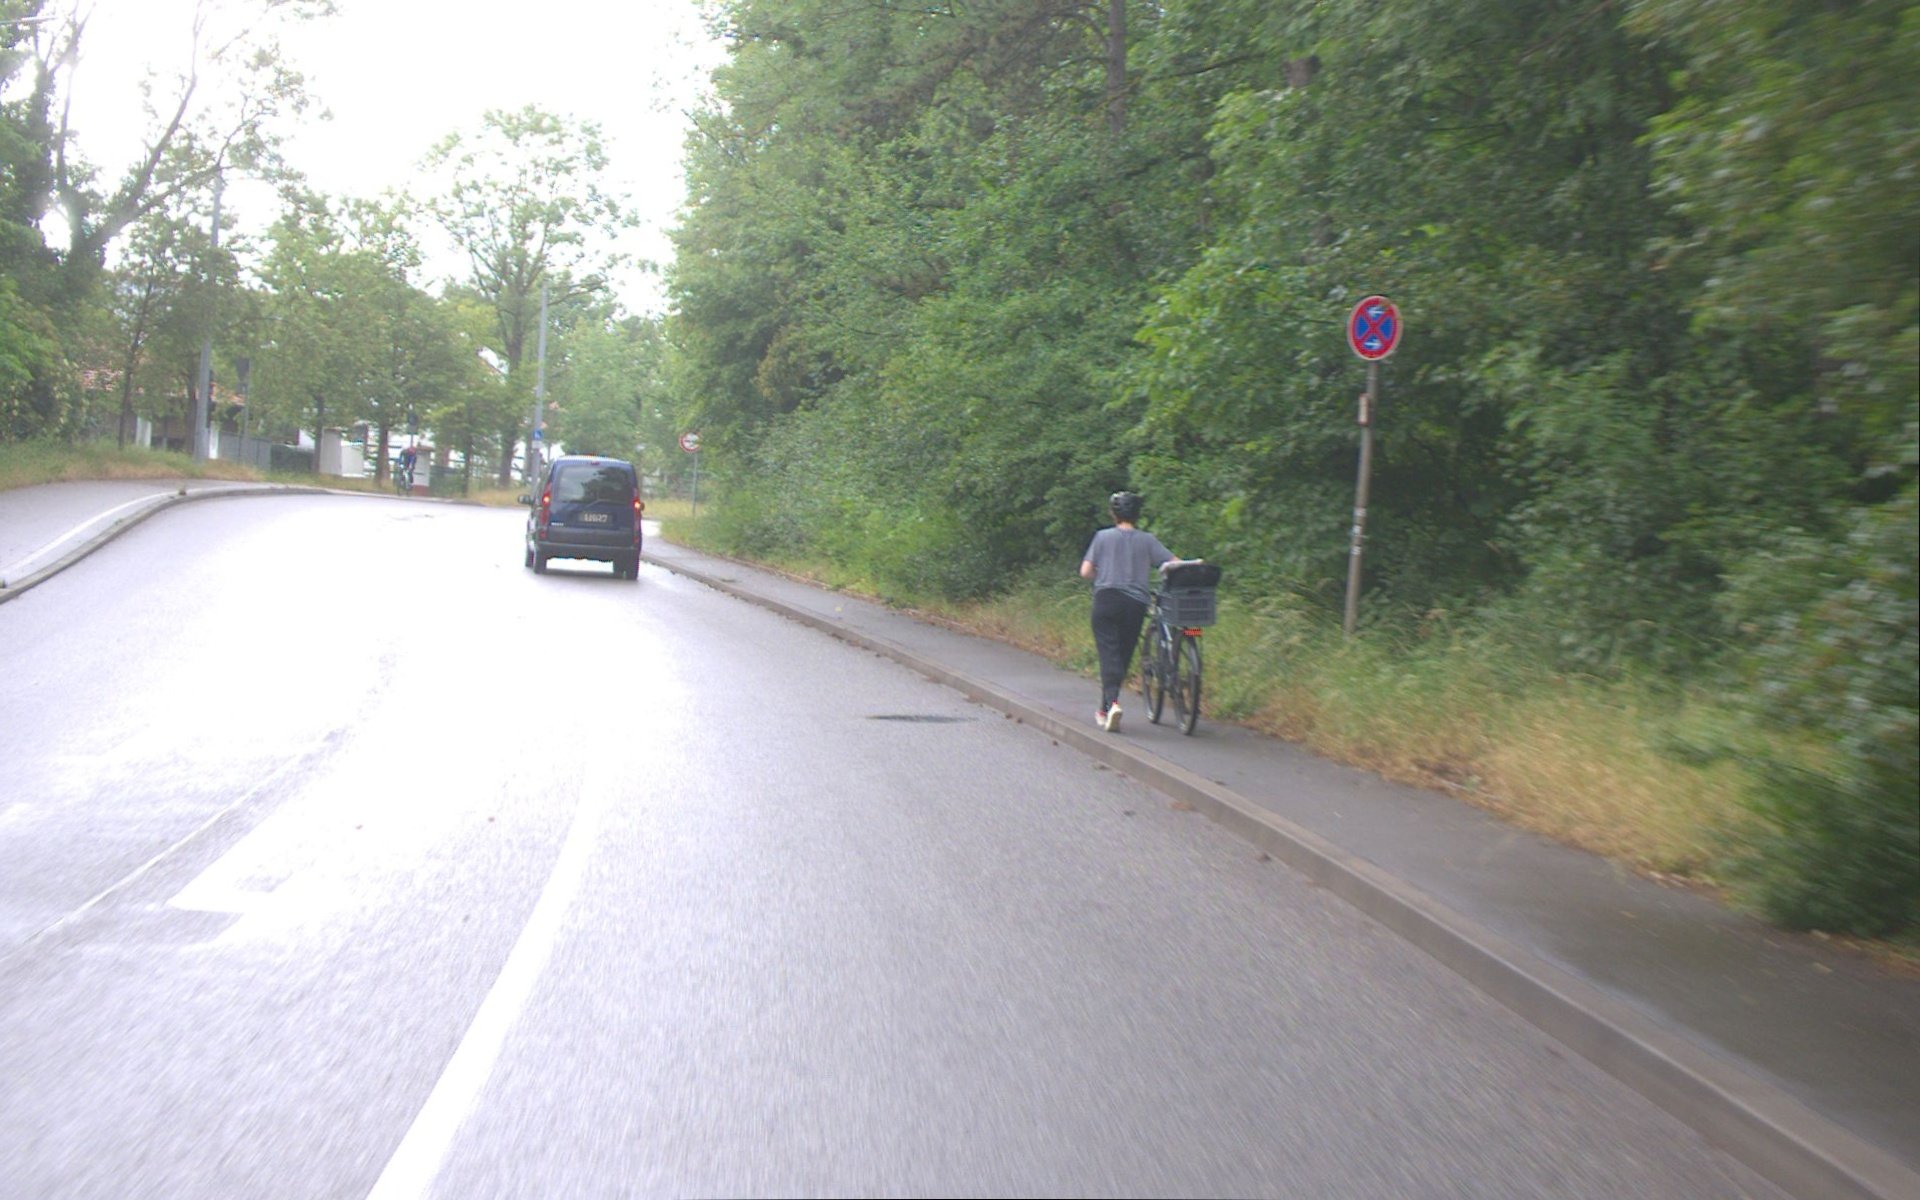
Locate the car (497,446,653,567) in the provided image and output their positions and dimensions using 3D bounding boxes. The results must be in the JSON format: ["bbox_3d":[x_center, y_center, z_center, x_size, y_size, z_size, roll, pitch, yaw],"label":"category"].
[{"bbox_3d":[-6.085,-1.429,54.016,1.826,1.788,4.001,1,0,-15],"label":"car"}]

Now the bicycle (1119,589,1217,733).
[{"bbox_3d":[1.381,0.390,23.071,0.355,0.846,1.743,-1,3,-6],"label":"bicycle"}]

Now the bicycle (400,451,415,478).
[{"bbox_3d":[-18.023,-4.415,112.160,0.355,0.846,2.094,2,3,-6],"label":"bicycle"}]

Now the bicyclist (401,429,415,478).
[{"bbox_3d":[-18.007,-4.769,112.143,0.336,1.569,1.298,3,2,-7],"label":"bicyclist"}]

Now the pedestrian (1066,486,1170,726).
[{"bbox_3d":[1.054,0.044,23.024,0.564,1.571,0.770,1,-1,-6],"label":"pedestrian"}]
